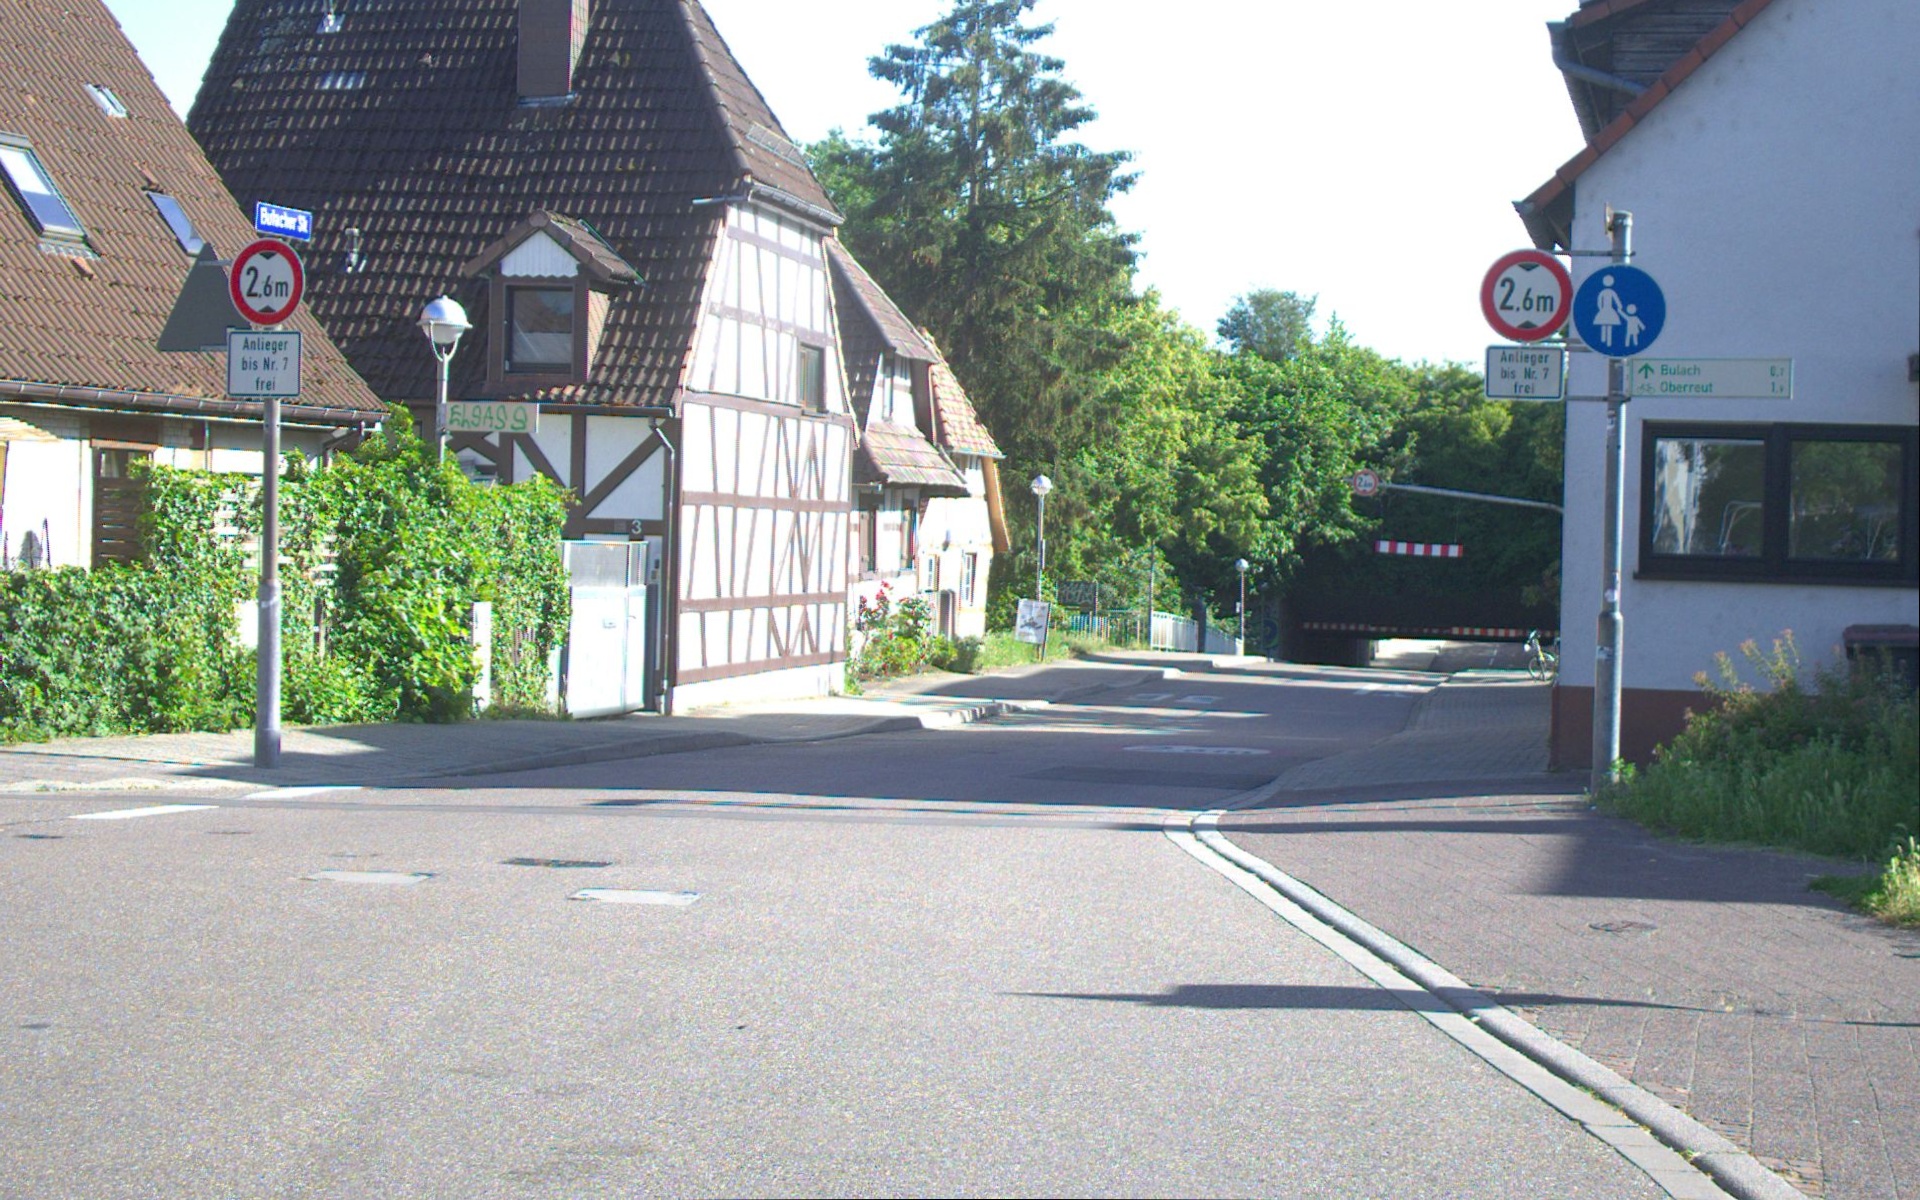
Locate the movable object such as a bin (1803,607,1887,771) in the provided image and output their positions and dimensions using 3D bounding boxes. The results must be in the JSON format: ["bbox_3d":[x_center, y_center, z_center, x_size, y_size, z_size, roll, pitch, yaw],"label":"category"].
[{"bbox_3d":[6.330,0.628,24.610,0.480,1.119,0.748,2,2,9],"label":"movable object such as a bin"}]

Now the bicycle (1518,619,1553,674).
[{"bbox_3d":[12.672,1.021,75.690,0.689,1.153,1.539,-3,0,9],"label":"bicycle"}]
